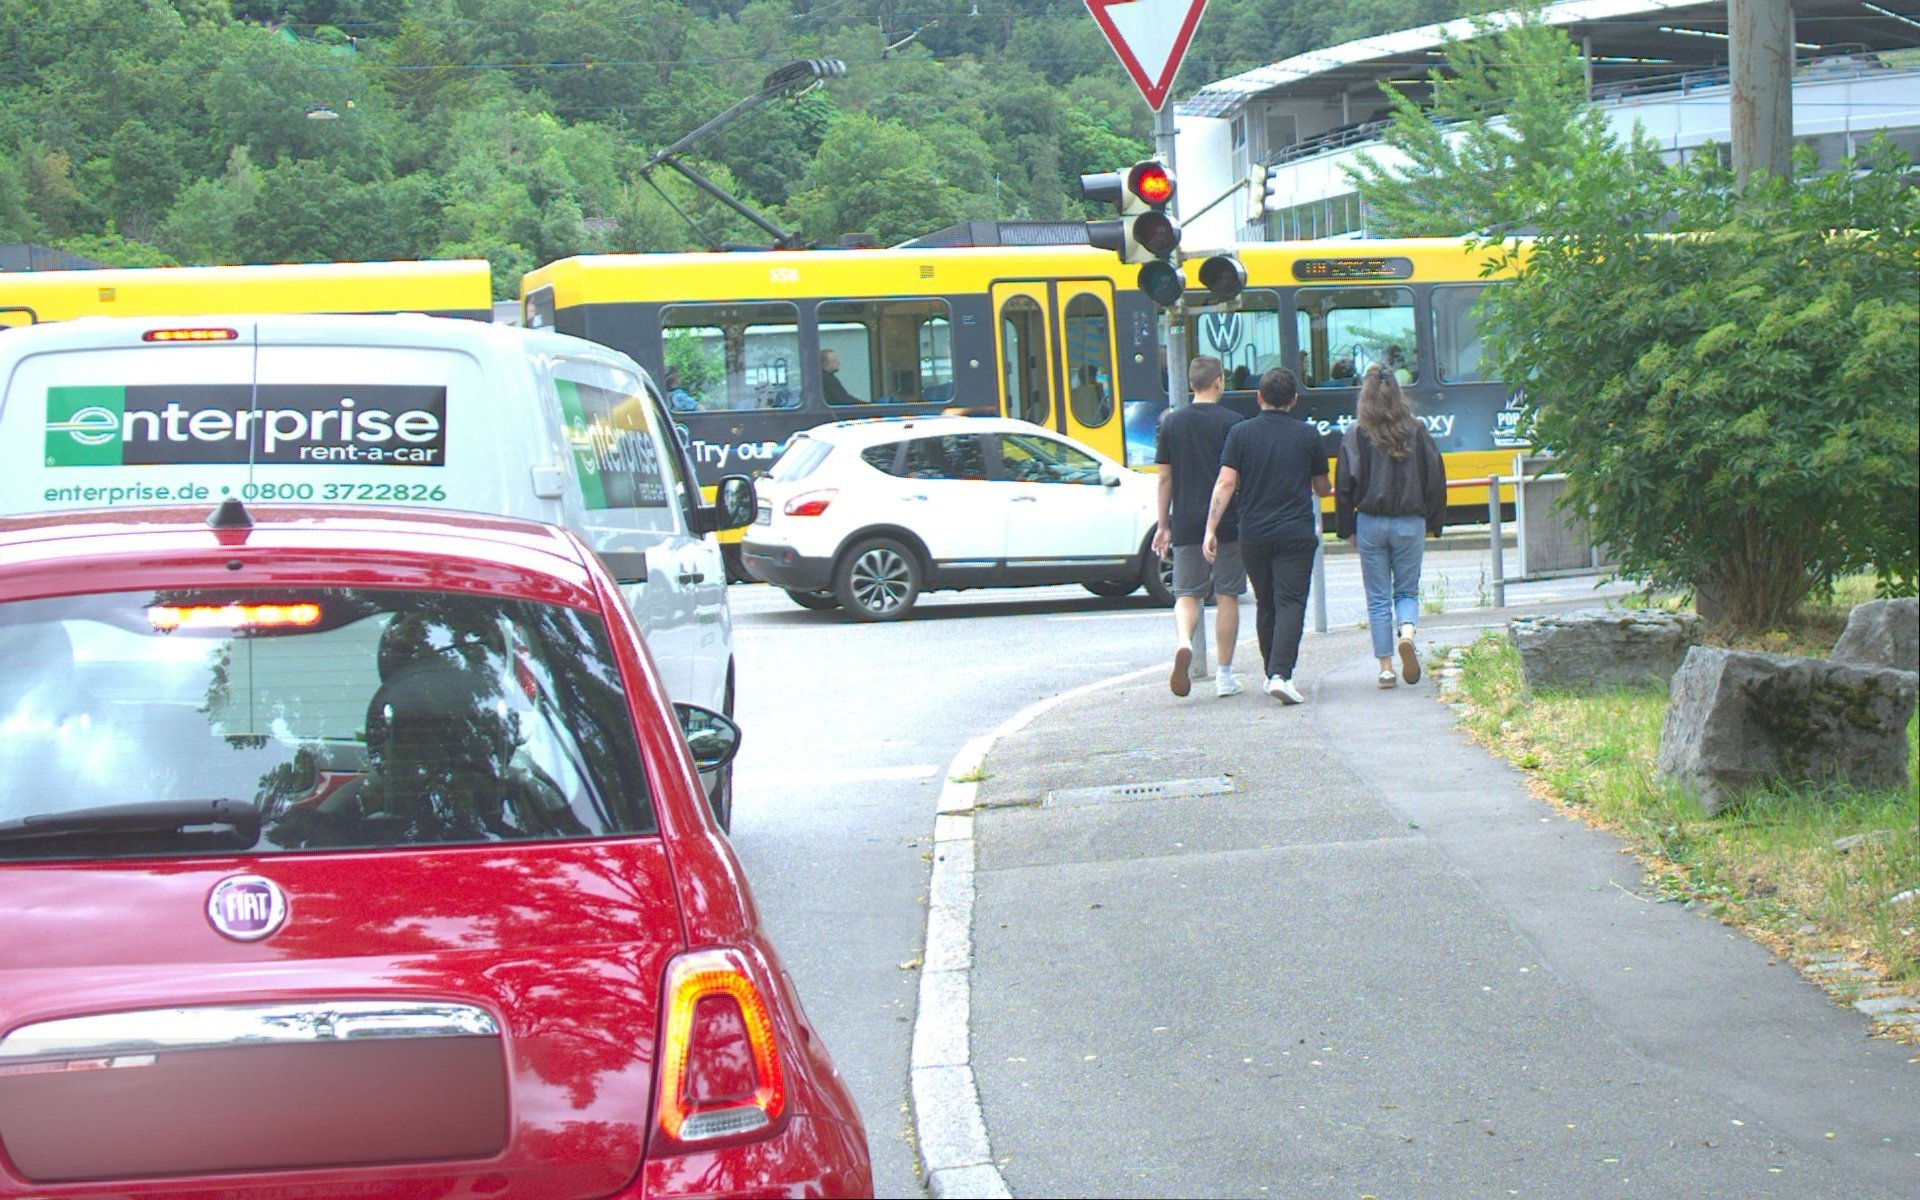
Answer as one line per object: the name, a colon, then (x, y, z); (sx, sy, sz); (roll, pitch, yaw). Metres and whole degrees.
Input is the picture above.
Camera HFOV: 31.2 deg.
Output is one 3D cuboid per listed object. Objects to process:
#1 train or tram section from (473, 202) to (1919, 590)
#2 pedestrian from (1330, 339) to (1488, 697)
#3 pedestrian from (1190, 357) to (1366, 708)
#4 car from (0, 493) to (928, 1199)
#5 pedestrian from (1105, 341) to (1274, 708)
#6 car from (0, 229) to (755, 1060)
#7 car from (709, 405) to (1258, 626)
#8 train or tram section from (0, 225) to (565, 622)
train or tram section: (4.269, -2.497, 39.397); (19.108, 3.653, 3.279); (-3, 2, -21)
pedestrian: (2.265, -0.418, 17.358); (0.693, 1.733, 0.788); (-3, 2, 7)
pedestrian: (1.621, -0.349, 17.415); (0.693, 1.708, 0.788); (-2, 2, 14)
car: (-1.180, 0.584, 5.497); (1.638, 1.451, 3.432); (-2, 2, -11)
pedestrian: (1.211, -0.402, 18.004); (0.693, 1.850, 0.788); (-3, 2, 12)
car: (-1.929, 0.039, 11.378); (1.989, 2.099, 4.762); (-3, 2, 2)
car: (0.181, -0.734, 28.359); (4.112, 1.578, 1.804); (-3, 3, -19)
train or tram section: (-13.621, -1.435, 33.033); (19.107, 3.653, 3.279); (-3, 2, -17)
